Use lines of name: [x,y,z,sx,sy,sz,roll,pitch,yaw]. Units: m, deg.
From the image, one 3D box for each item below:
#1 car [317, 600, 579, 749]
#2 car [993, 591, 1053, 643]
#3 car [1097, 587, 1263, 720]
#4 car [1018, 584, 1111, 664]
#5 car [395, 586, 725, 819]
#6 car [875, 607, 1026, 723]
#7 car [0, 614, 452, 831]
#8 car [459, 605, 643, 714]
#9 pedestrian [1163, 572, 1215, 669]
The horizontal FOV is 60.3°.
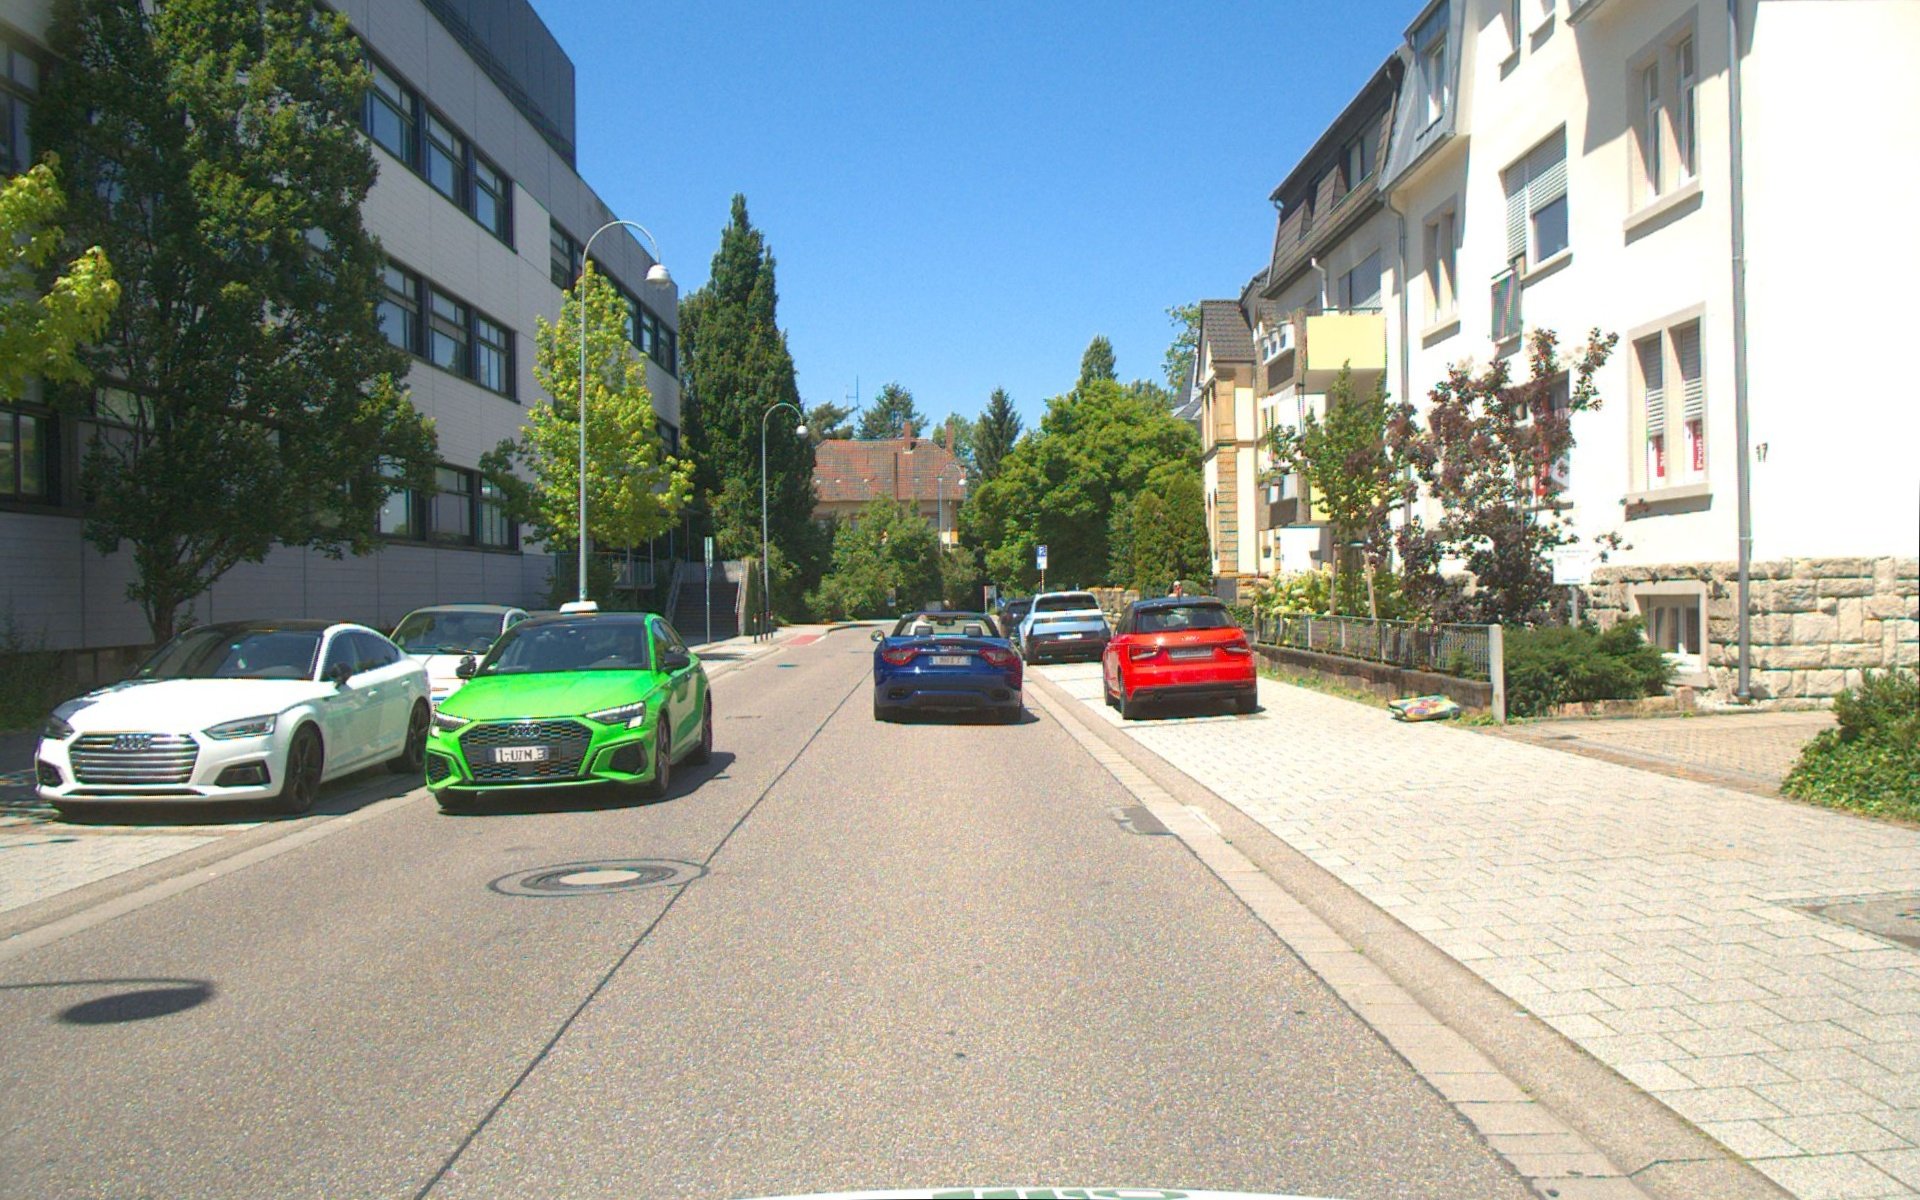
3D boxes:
car: [-5.865,0.782,19.495,1.785,1.538,4.289,-1,0,-1]
car: [1.992,0.514,53.076,1.599,1.471,4.397,-4,0,-1]
car: [2.771,0.627,21.538,1.571,1.465,3.853,-4,0,0]
car: [2.367,0.519,38.463,1.806,1.647,4.427,-3,0,0]
car: [-3.175,0.732,13.986,1.785,1.616,4.100,-2,0,-1]
car: [-0.143,0.784,21.989,1.789,1.360,4.699,0,0,-1]
car: [-5.783,0.864,13.702,1.785,1.436,4.576,0,0,-1]
car: [-5.915,0.816,24.356,1.712,1.434,3.933,-1,0,0]
pedestrian: [4.195,0.371,30.351,0.725,1.698,0.705,-4,0,-2]
